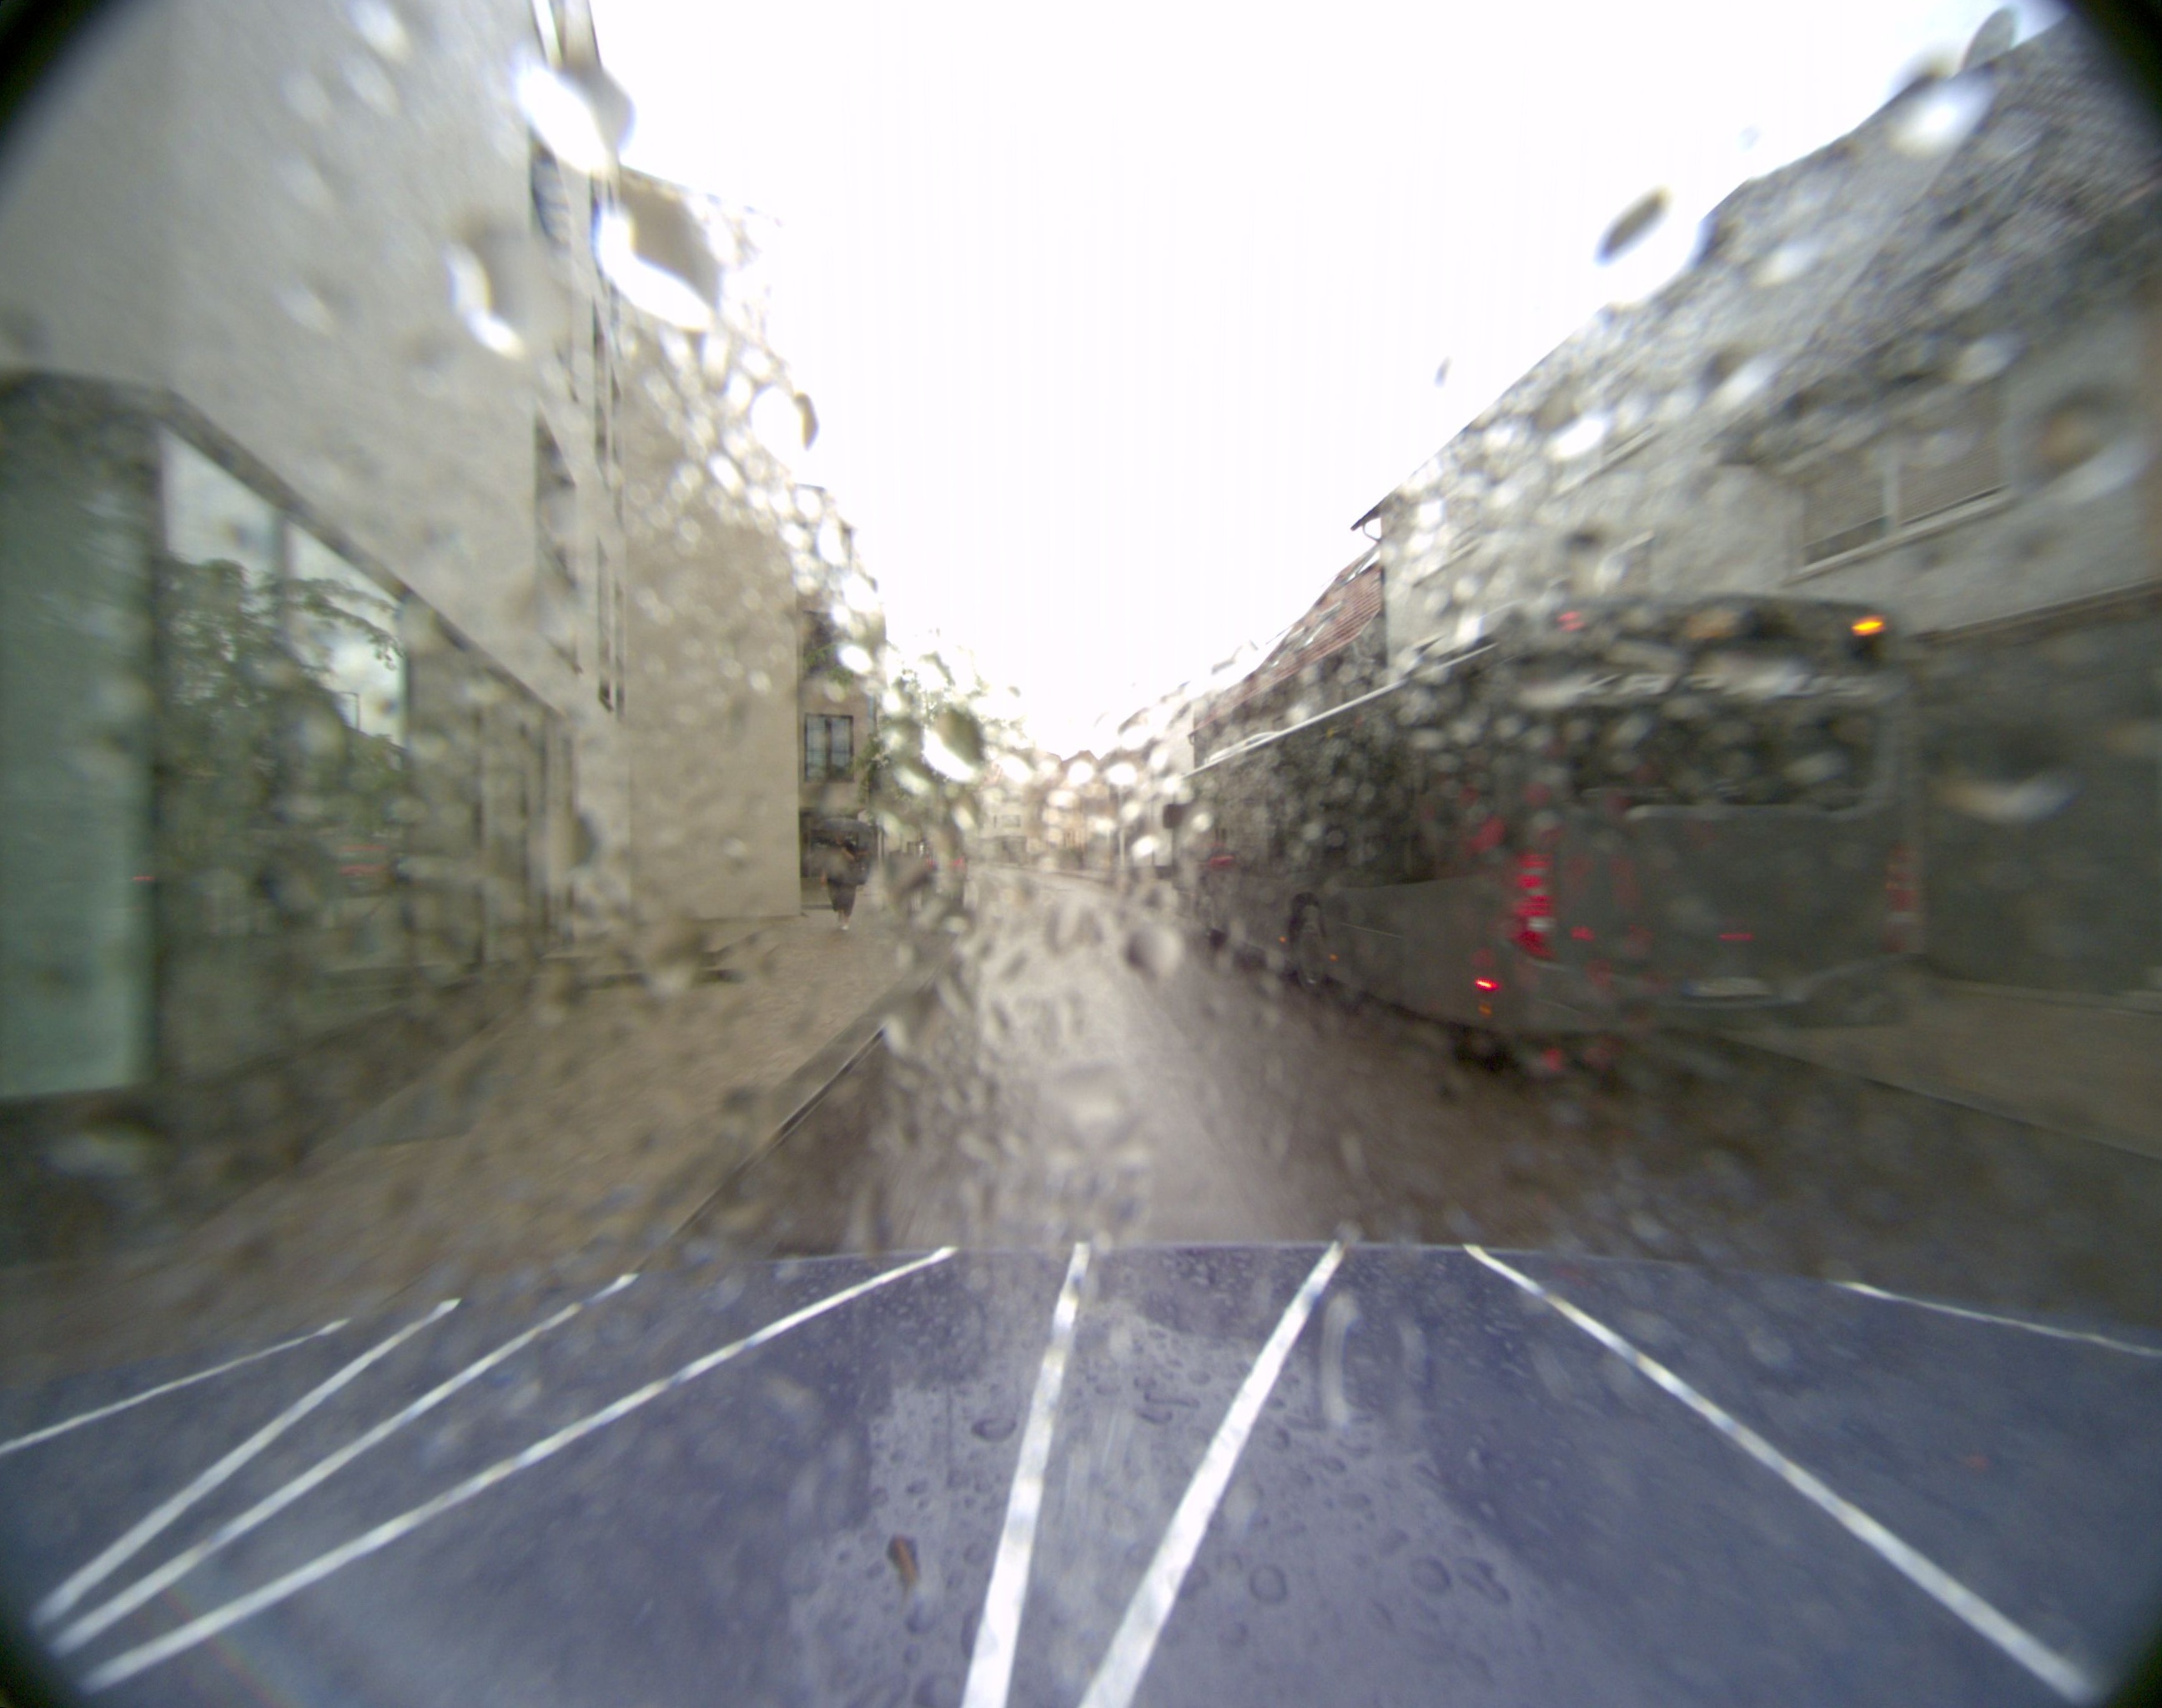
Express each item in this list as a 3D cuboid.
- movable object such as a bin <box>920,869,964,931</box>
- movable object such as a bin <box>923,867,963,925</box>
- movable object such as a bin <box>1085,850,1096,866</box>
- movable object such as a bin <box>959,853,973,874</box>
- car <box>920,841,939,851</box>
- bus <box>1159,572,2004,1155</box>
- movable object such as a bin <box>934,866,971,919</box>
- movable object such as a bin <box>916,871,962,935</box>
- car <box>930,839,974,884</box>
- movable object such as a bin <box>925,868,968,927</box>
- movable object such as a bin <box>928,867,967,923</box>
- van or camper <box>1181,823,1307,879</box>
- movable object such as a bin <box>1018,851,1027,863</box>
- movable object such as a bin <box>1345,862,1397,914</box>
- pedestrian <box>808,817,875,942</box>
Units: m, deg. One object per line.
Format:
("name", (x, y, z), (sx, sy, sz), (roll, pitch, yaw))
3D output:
("movable object such as a bin", (-2.635, 0.861, 14.462), (0.726, 1.112, 0.576), (-1, 1, -4))
("movable object such as a bin", (-2.893, 0.879, 15.971), (0.753, 1.164, 0.630), (0, 2, -1))
("movable object such as a bin", (0.658, 0.269, 55.013), (0.660, 1.103, 0.720), (2, 1, -7))
("movable object such as a bin", (-6.089, 0.496, 40.114), (0.711, 1.081, 0.600), (0, 1, -10))
("car", (-22.598, -1.177, 113.146), (2.002, 1.438, 3.991), (-2, 2, -23))
("bus", (3.326, -0.030, 9.546), (2.731, 3.062, 10.940), (-1, 1, -4))
("movable object such as a bin", (-2.922, 0.870, 17.312), (0.753, 1.164, 0.630), (0, 2, -1))
("movable object such as a bin", (-2.584, 0.878, 13.878), (0.726, 1.112, 0.576), (-1, 1, -4))
("car", (-5.936, 0.275, 35.278), (1.841, 1.896, 4.599), (1, 1, -8))
("movable object such as a bin", (-2.660, 0.844, 15.075), (0.764, 1.112, 0.623), (-1, 1, -4))
("movable object such as a bin", (-2.907, 0.890, 16.635), (0.753, 1.164, 0.630), (0, 2, -1))
("van or camper", (7.258, -0.176, 34.053), (5.040, 1.923, 1.998), (-6, 3, -9))
("movable object such as a bin", (-5.188, 0.248, 67.596), (0.715, 1.053, 0.575), (-1, 2, -14))
("movable object such as a bin", (6.197, 0.722, 16.282), (0.795, 1.053, 0.701), (-2, 2, -8))
("pedestrian", (-4.039, 0.403, 12.894), (0.870, 2.002, 1.081), (-2, 2, -9))
